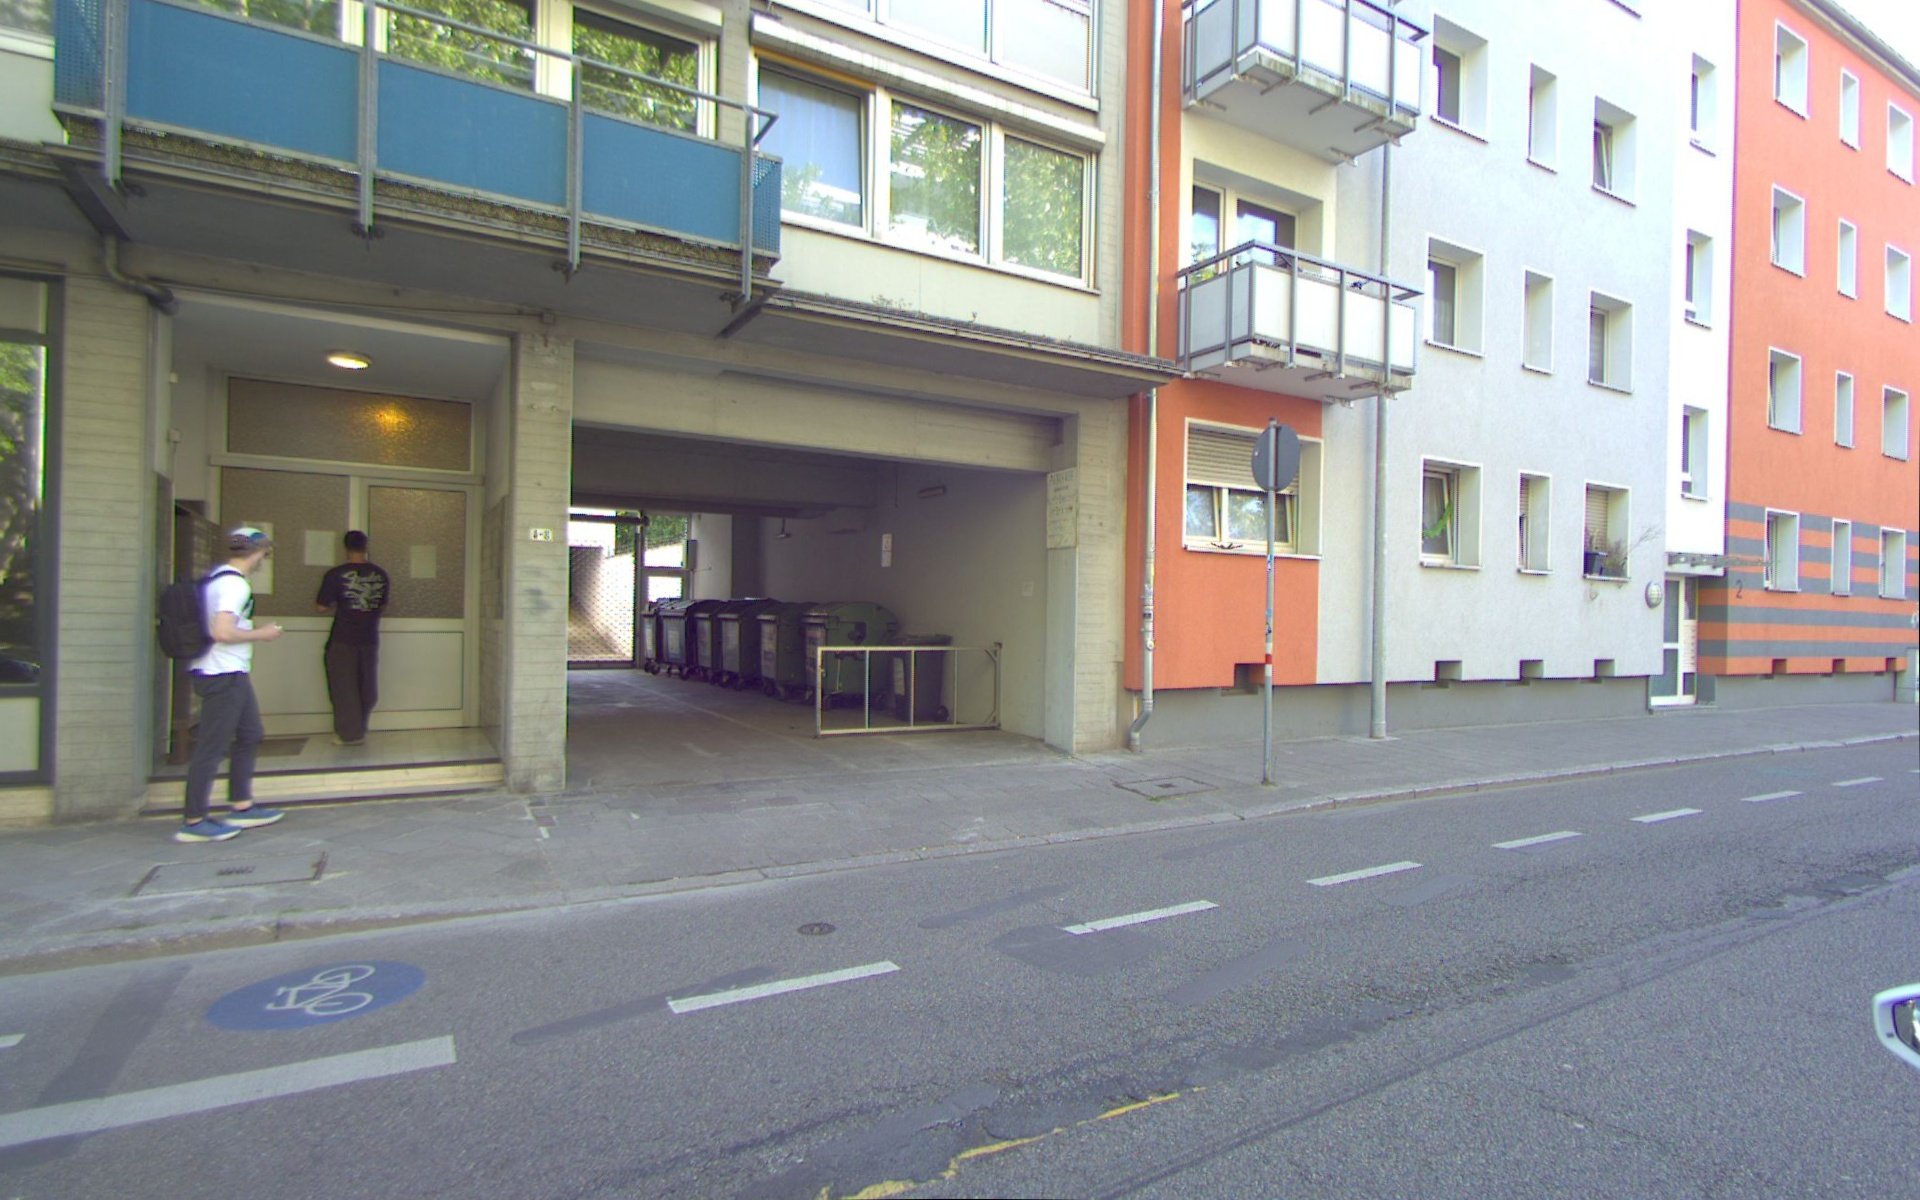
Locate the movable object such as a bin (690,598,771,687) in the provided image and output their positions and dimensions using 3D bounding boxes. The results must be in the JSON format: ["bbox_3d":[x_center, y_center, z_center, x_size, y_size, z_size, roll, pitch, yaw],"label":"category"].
[{"bbox_3d":[-4.037,0.724,17.639,1.080,1.503,1.159,1,0,-30],"label":"movable object such as a bin"}]

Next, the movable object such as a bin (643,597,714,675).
[{"bbox_3d":[-5.592,0.707,19.936,1.167,1.503,0.819,1,0,-30],"label":"movable object such as a bin"}]

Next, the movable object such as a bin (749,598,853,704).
[{"bbox_3d":[-2.405,0.734,15.155,1.167,1.503,1.252,1,0,-30],"label":"movable object such as a bin"}]

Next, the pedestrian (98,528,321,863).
[{"bbox_3d":[-4.455,0.514,6.000,0.590,1.824,0.878,2,1,27],"label":"pedestrian"}]

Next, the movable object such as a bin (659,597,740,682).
[{"bbox_3d":[-4.867,0.713,18.698,1.167,1.503,1.215,1,0,-30],"label":"movable object such as a bin"}]

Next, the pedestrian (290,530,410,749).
[{"bbox_3d":[-5.076,0.314,8.375,0.539,1.736,0.660,1,0,32],"label":"pedestrian"}]

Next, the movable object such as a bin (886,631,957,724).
[{"bbox_3d":[-0.479,0.944,12.473,0.687,1.094,0.579,1,0,-30],"label":"movable object such as a bin"}]

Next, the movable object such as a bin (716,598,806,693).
[{"bbox_3d":[-3.298,0.726,16.644,1.167,1.503,1.073,1,0,-30],"label":"movable object such as a bin"}]

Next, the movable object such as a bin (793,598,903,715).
[{"bbox_3d":[-1.556,0.742,13.787,1.086,1.503,1.251,1,0,-30],"label":"movable object such as a bin"}]
